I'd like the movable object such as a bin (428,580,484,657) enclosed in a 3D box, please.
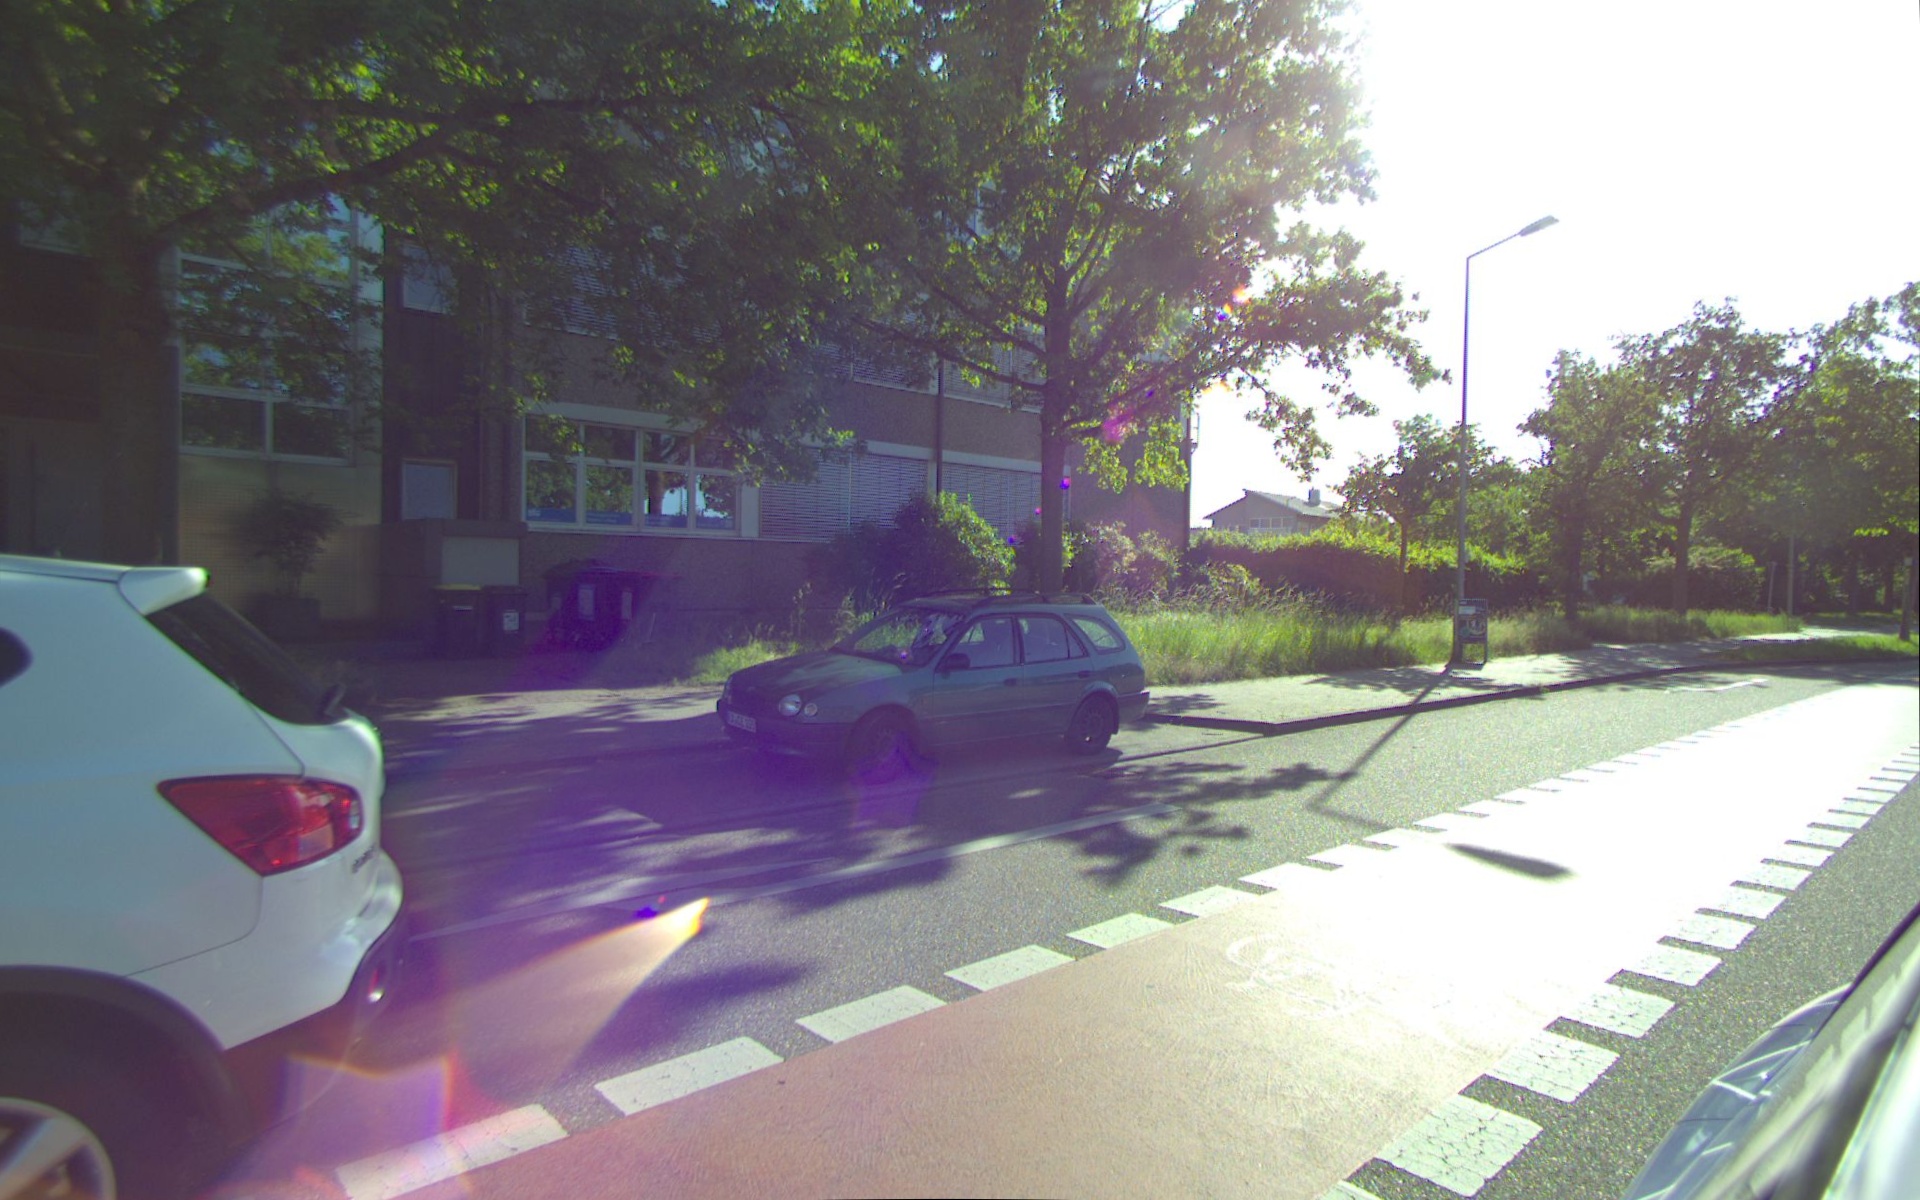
[{"bbox_3d":[-7.220,0.248,14.489,0.575,1.070,0.625,0,1,-42],"label":"movable object such as a bin"}]

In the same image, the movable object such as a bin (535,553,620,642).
[{"bbox_3d":[-6.786,-0.071,17.933,1.024,1.501,1.309,0,2,-41],"label":"movable object such as a bin"}]

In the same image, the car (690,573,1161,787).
[{"bbox_3d":[-0.150,0.577,9.124,4.068,1.487,1.705,1,1,-41],"label":"car"}]

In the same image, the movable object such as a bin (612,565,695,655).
[{"bbox_3d":[-4.786,0.127,15.765,0.878,1.323,1.186,0,2,-37],"label":"movable object such as a bin"}]

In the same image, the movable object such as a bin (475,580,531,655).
[{"bbox_3d":[-6.764,0.242,14.970,0.604,1.075,0.634,0,1,-42],"label":"movable object such as a bin"}]

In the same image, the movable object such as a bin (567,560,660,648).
[{"bbox_3d":[-5.776,0.045,16.853,1.070,1.388,1.186,0,2,-43],"label":"movable object such as a bin"}]

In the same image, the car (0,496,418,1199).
[{"bbox_3d":[-3.281,0.617,1.701,3.991,1.628,1.723,0,0,-36],"label":"car"}]
